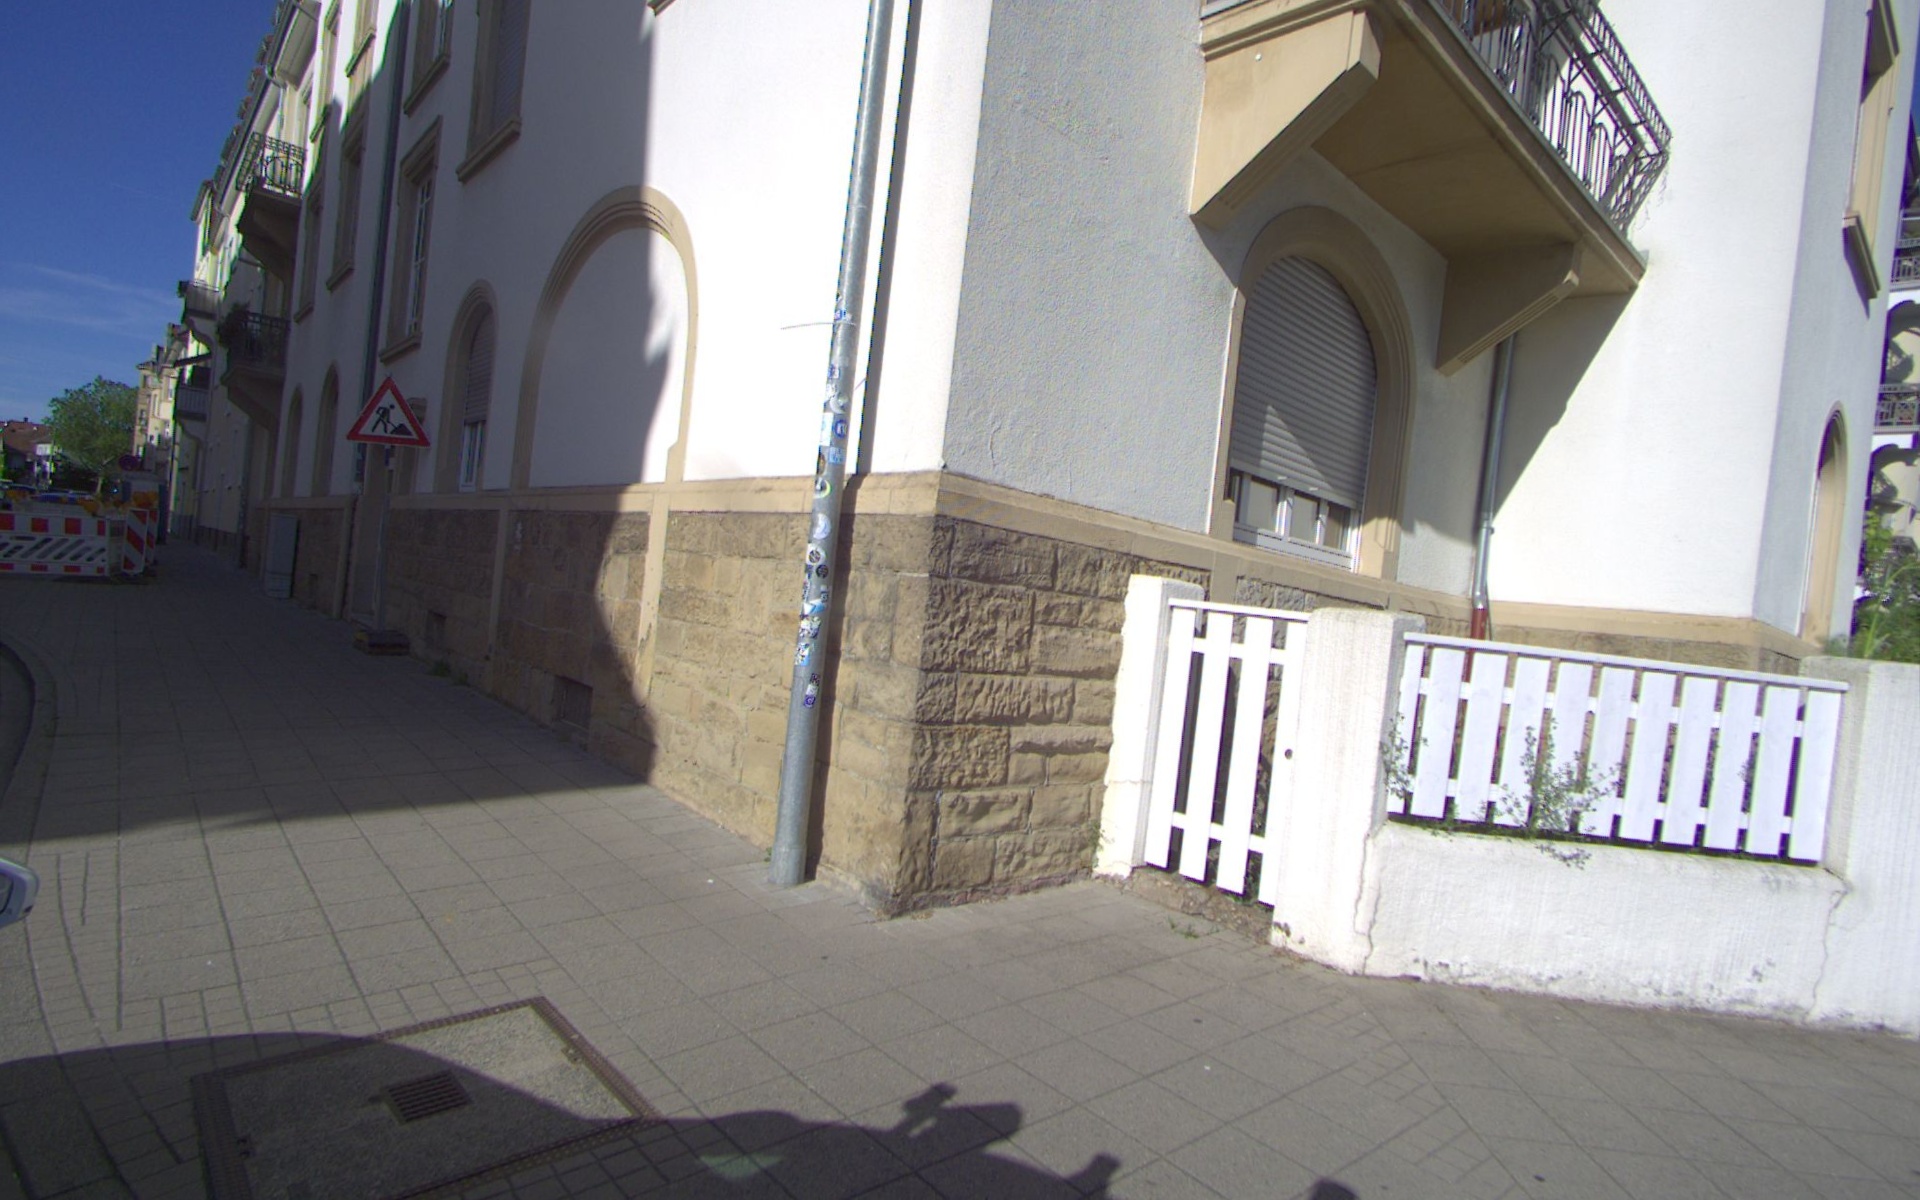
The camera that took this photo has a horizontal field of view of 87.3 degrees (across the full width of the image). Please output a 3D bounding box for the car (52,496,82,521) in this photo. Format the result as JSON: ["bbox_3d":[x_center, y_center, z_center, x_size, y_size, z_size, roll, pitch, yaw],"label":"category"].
[{"bbox_3d":[-88.166,-9.034,99.335,1.998,2.022,4.435,9,-3,-42],"label":"car"}]

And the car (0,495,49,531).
[{"bbox_3d":[-61.498,-5.697,66.203,1.997,1.935,4.436,9,-3,-41],"label":"car"}]

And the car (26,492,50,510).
[{"bbox_3d":[-116.031,-12.395,126.593,1.998,1.837,4.435,9,-3,-42],"label":"car"}]

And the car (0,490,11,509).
[{"bbox_3d":[-94.171,-9.932,98.106,1.998,1.623,4.435,10,-3,-42],"label":"car"}]

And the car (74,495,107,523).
[{"bbox_3d":[-70.171,-7.328,81.260,1.830,1.808,3.985,6,-1,-40],"label":"car"}]

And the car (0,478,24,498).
[{"bbox_3d":[-118.222,-13.901,125.291,1.998,2.022,4.435,9,-3,-42],"label":"car"}]
